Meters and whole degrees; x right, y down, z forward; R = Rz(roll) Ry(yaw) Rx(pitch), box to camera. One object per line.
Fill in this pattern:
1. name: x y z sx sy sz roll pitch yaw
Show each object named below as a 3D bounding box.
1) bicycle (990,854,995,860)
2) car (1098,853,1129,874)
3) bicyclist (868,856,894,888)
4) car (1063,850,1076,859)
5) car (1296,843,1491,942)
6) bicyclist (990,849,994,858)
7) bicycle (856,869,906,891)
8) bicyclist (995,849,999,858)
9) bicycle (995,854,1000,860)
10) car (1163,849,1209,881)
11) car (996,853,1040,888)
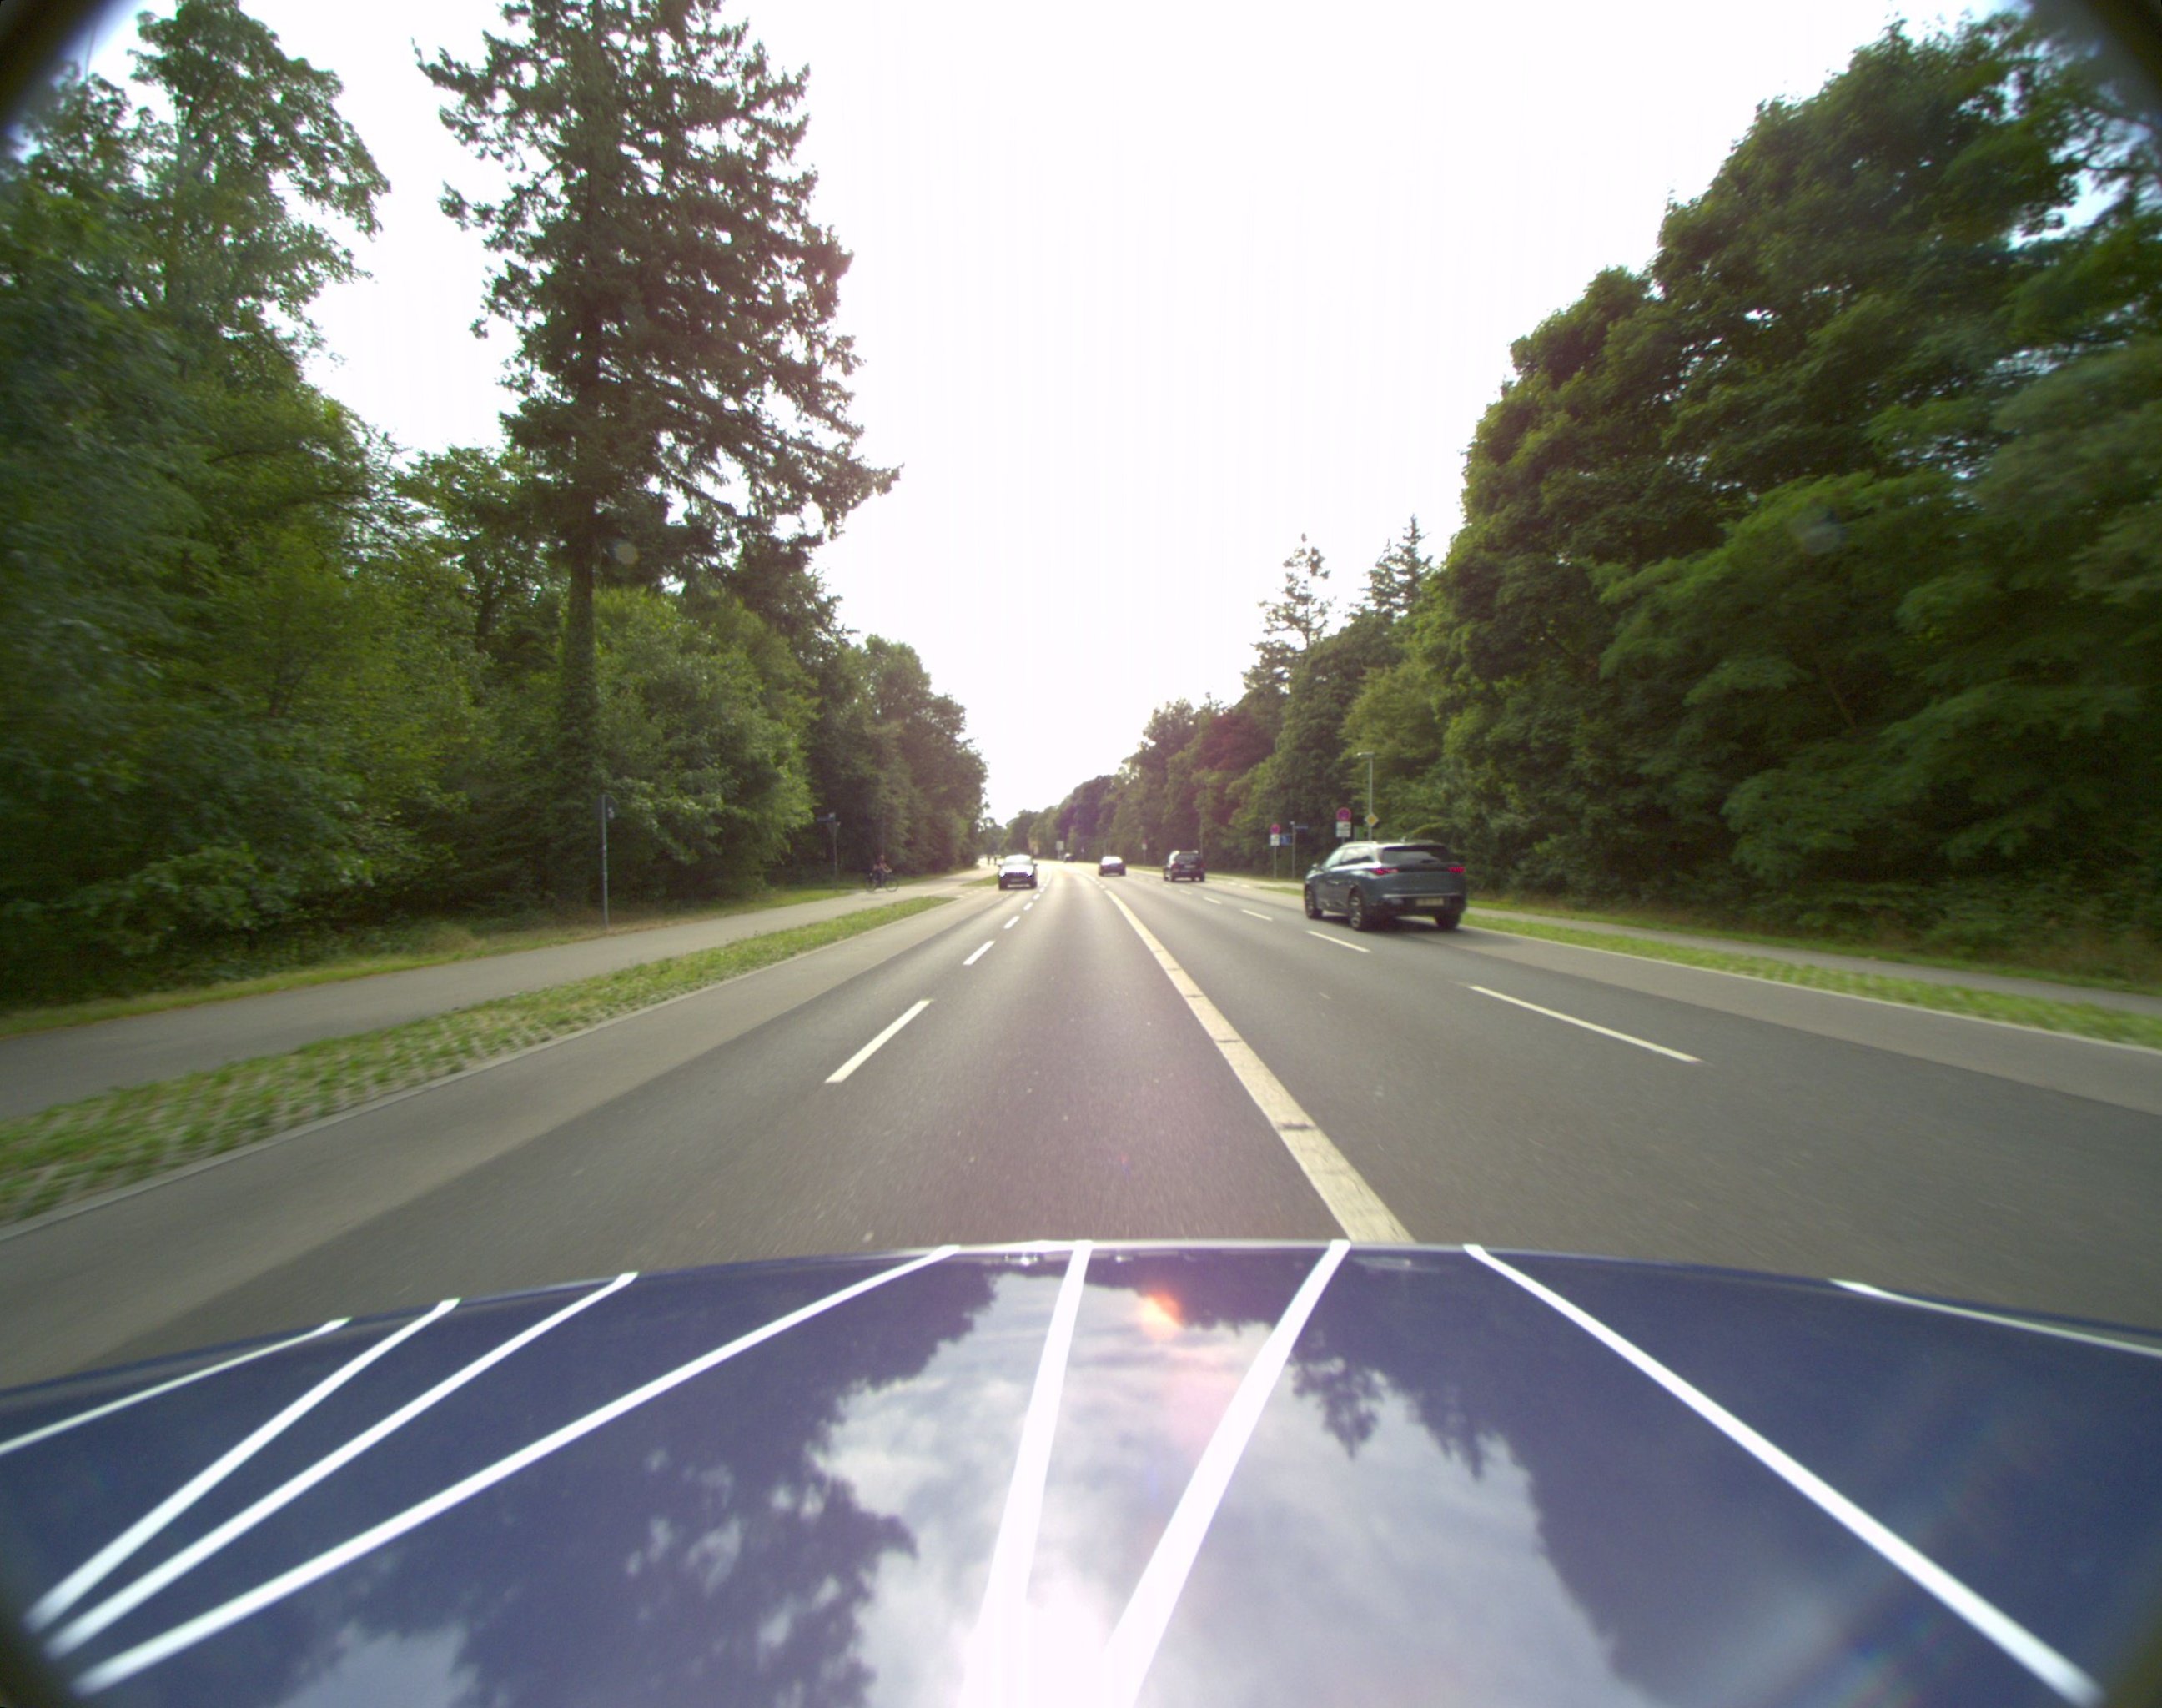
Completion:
1. bicycle: -14.264 0.446 121.955 0.568 0.906 1.885 2 -1 -12
2. car: 2.426 0.668 57.958 1.999 1.427 4.719 -2 1 -2
3. bicyclist: -9.419 0.838 35.808 0.899 1.462 0.712 -1 1 16
4. car: -2.299 0.110 151.941 2.000 1.781 4.743 -3 1 -9
5. car: 6.044 0.628 15.407 1.998 1.607 4.663 -3 1 0
6. bicyclist: -14.308 -0.055 122.032 0.521 1.407 1.185 -3 1 -12
7. bicycle: -9.418 1.214 35.801 2.177 0.988 0.712 -1 1 16
8. bicyclist: -13.516 -0.045 122.129 0.521 1.407 1.185 -1 1 -12
9. bicycle: -13.482 0.428 122.116 0.568 0.906 1.752 1 0 -12
10. car: 5.787 0.634 42.367 1.928 1.645 4.471 -2 -2 0
11. car: -3.228 0.838 39.629 1.999 1.565 3.998 -3 1 -2
